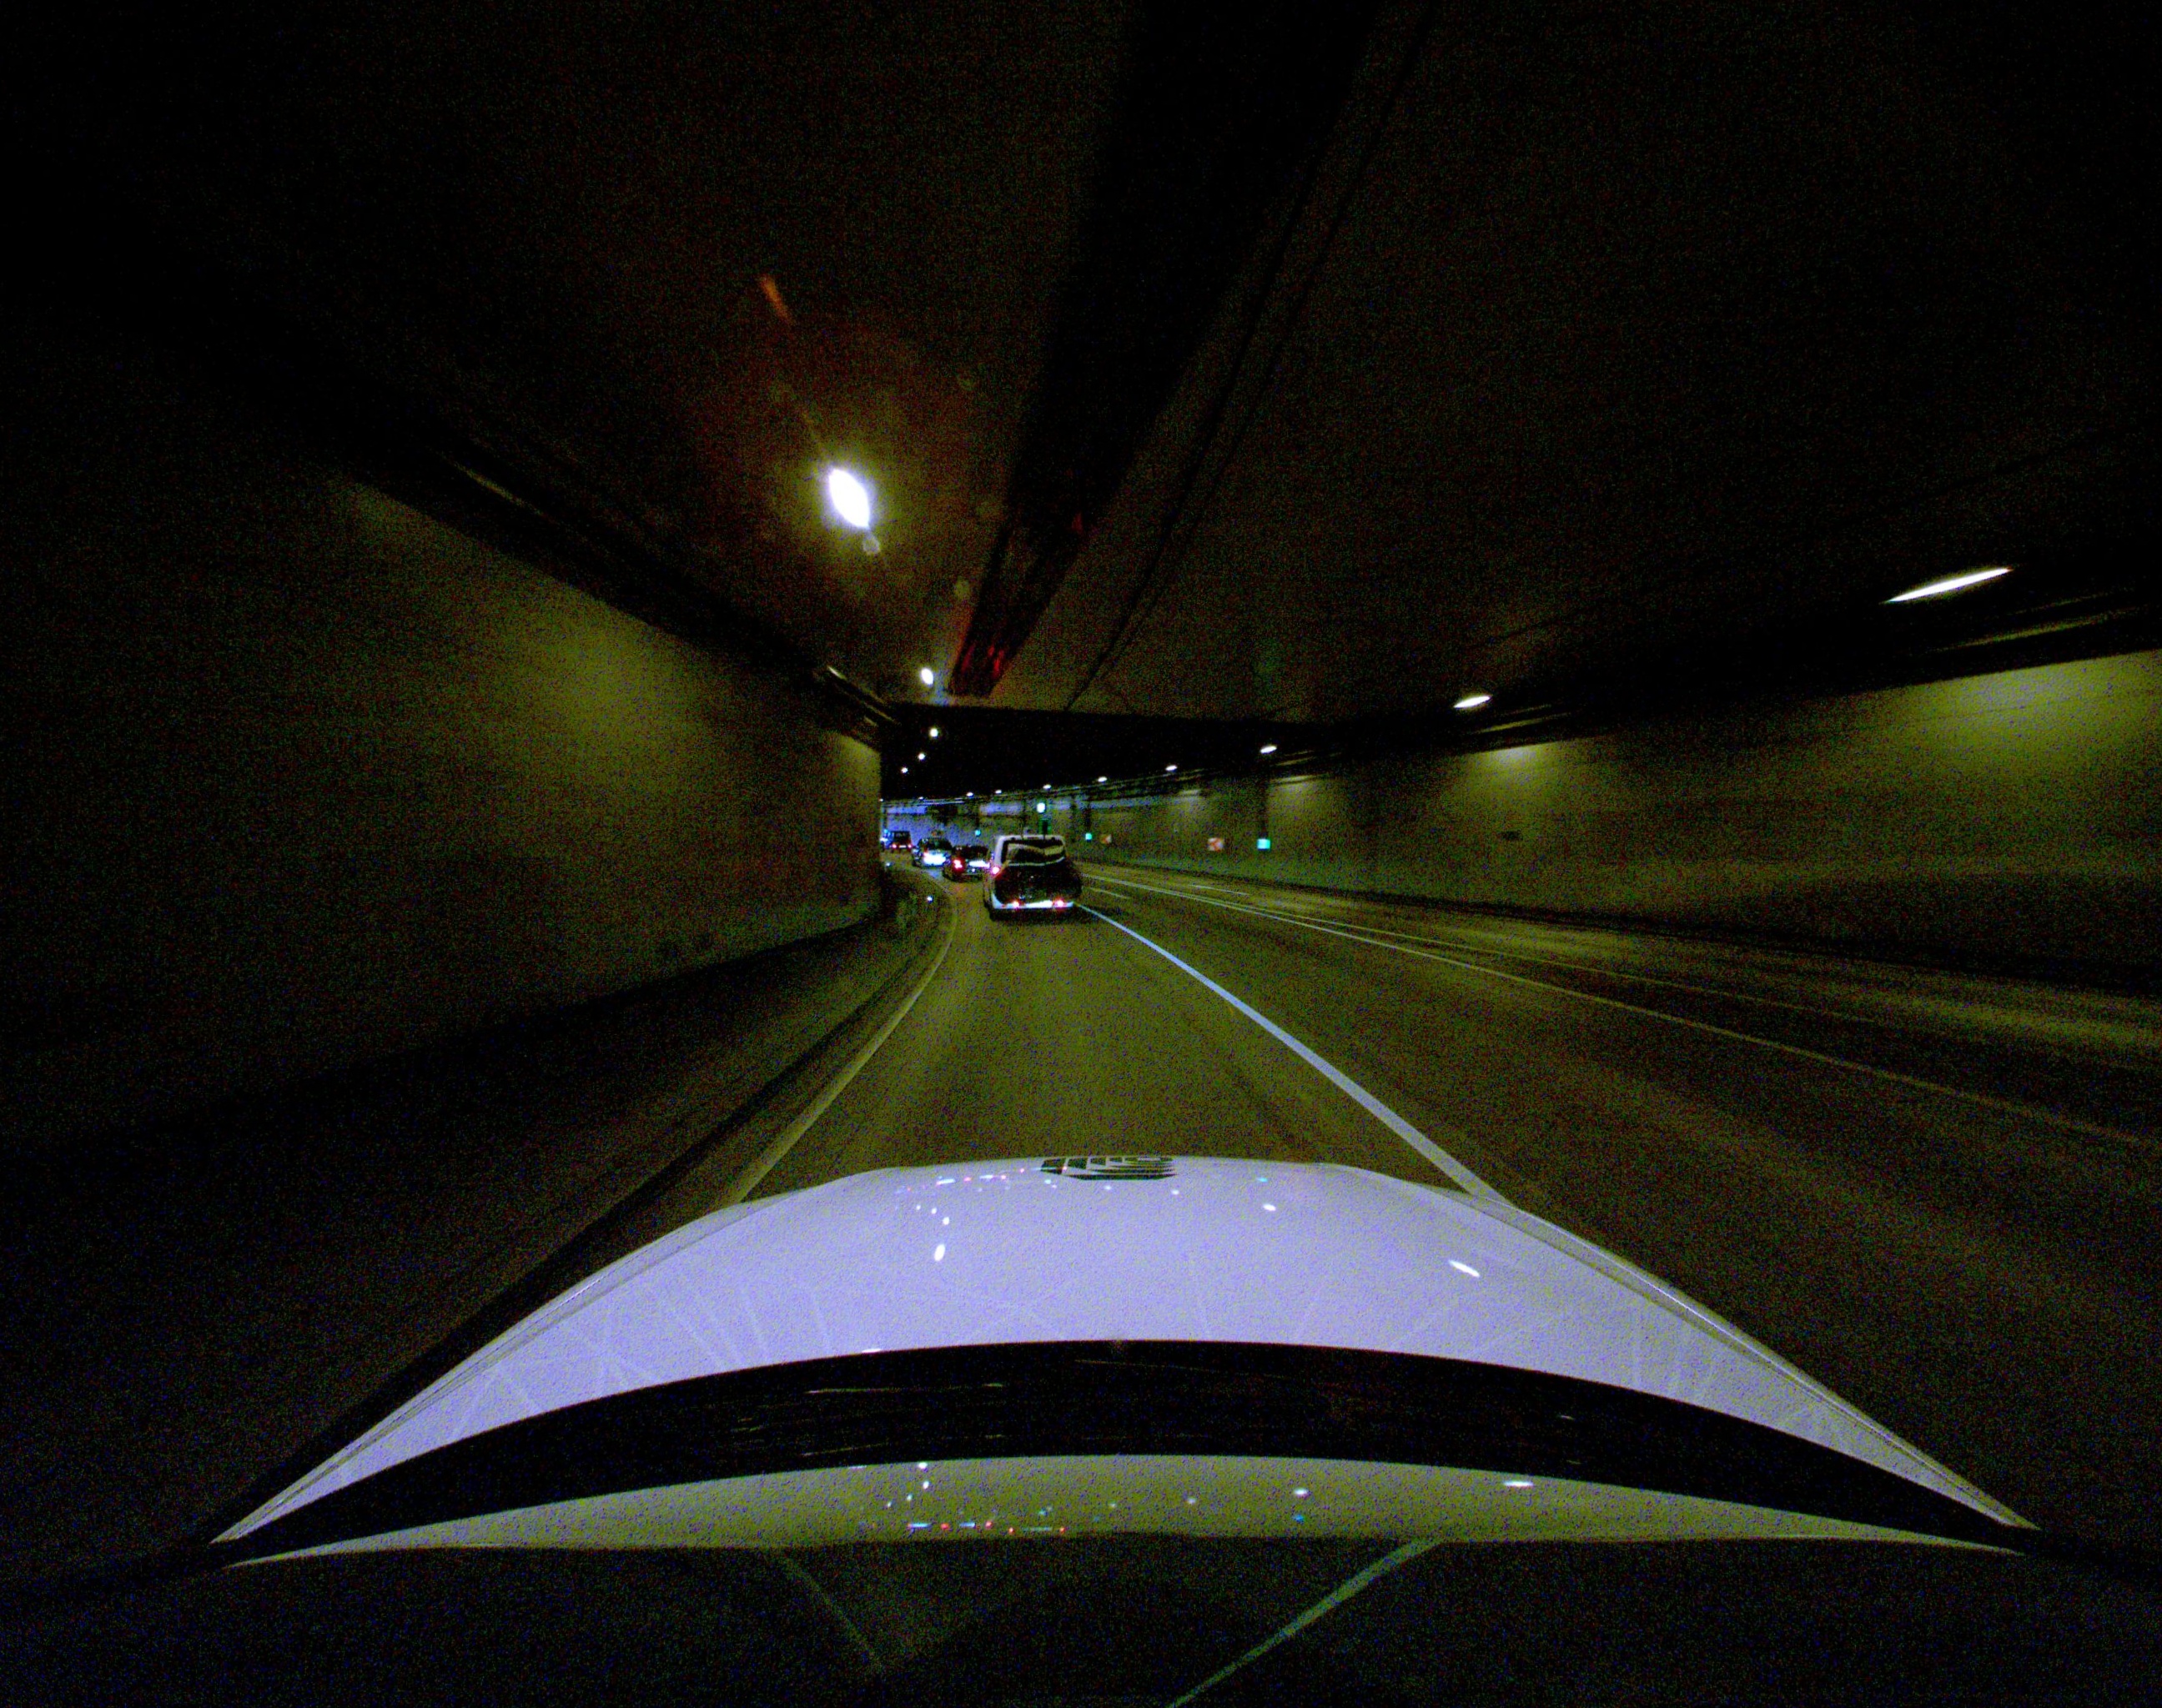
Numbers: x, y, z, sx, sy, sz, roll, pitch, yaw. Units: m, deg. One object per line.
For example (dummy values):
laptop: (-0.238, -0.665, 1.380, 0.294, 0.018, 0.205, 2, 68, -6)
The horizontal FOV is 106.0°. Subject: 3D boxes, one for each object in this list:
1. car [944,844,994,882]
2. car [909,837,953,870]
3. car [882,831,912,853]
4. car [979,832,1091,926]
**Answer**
car: (-4.510, 0.331, 32.583, 1.605, 1.395, 3.261, -1, 1, -15)
car: (-7.773, -0.028, 42.061, 1.609, 1.594, 3.331, 1, 0, -22)
car: (-14.372, -0.929, 63.410, 1.611, 1.630, 3.328, -1, 1, -25)
car: (-1.248, 0.470, 19.117, 1.994, 1.847, 5.283, -1, 1, -10)
